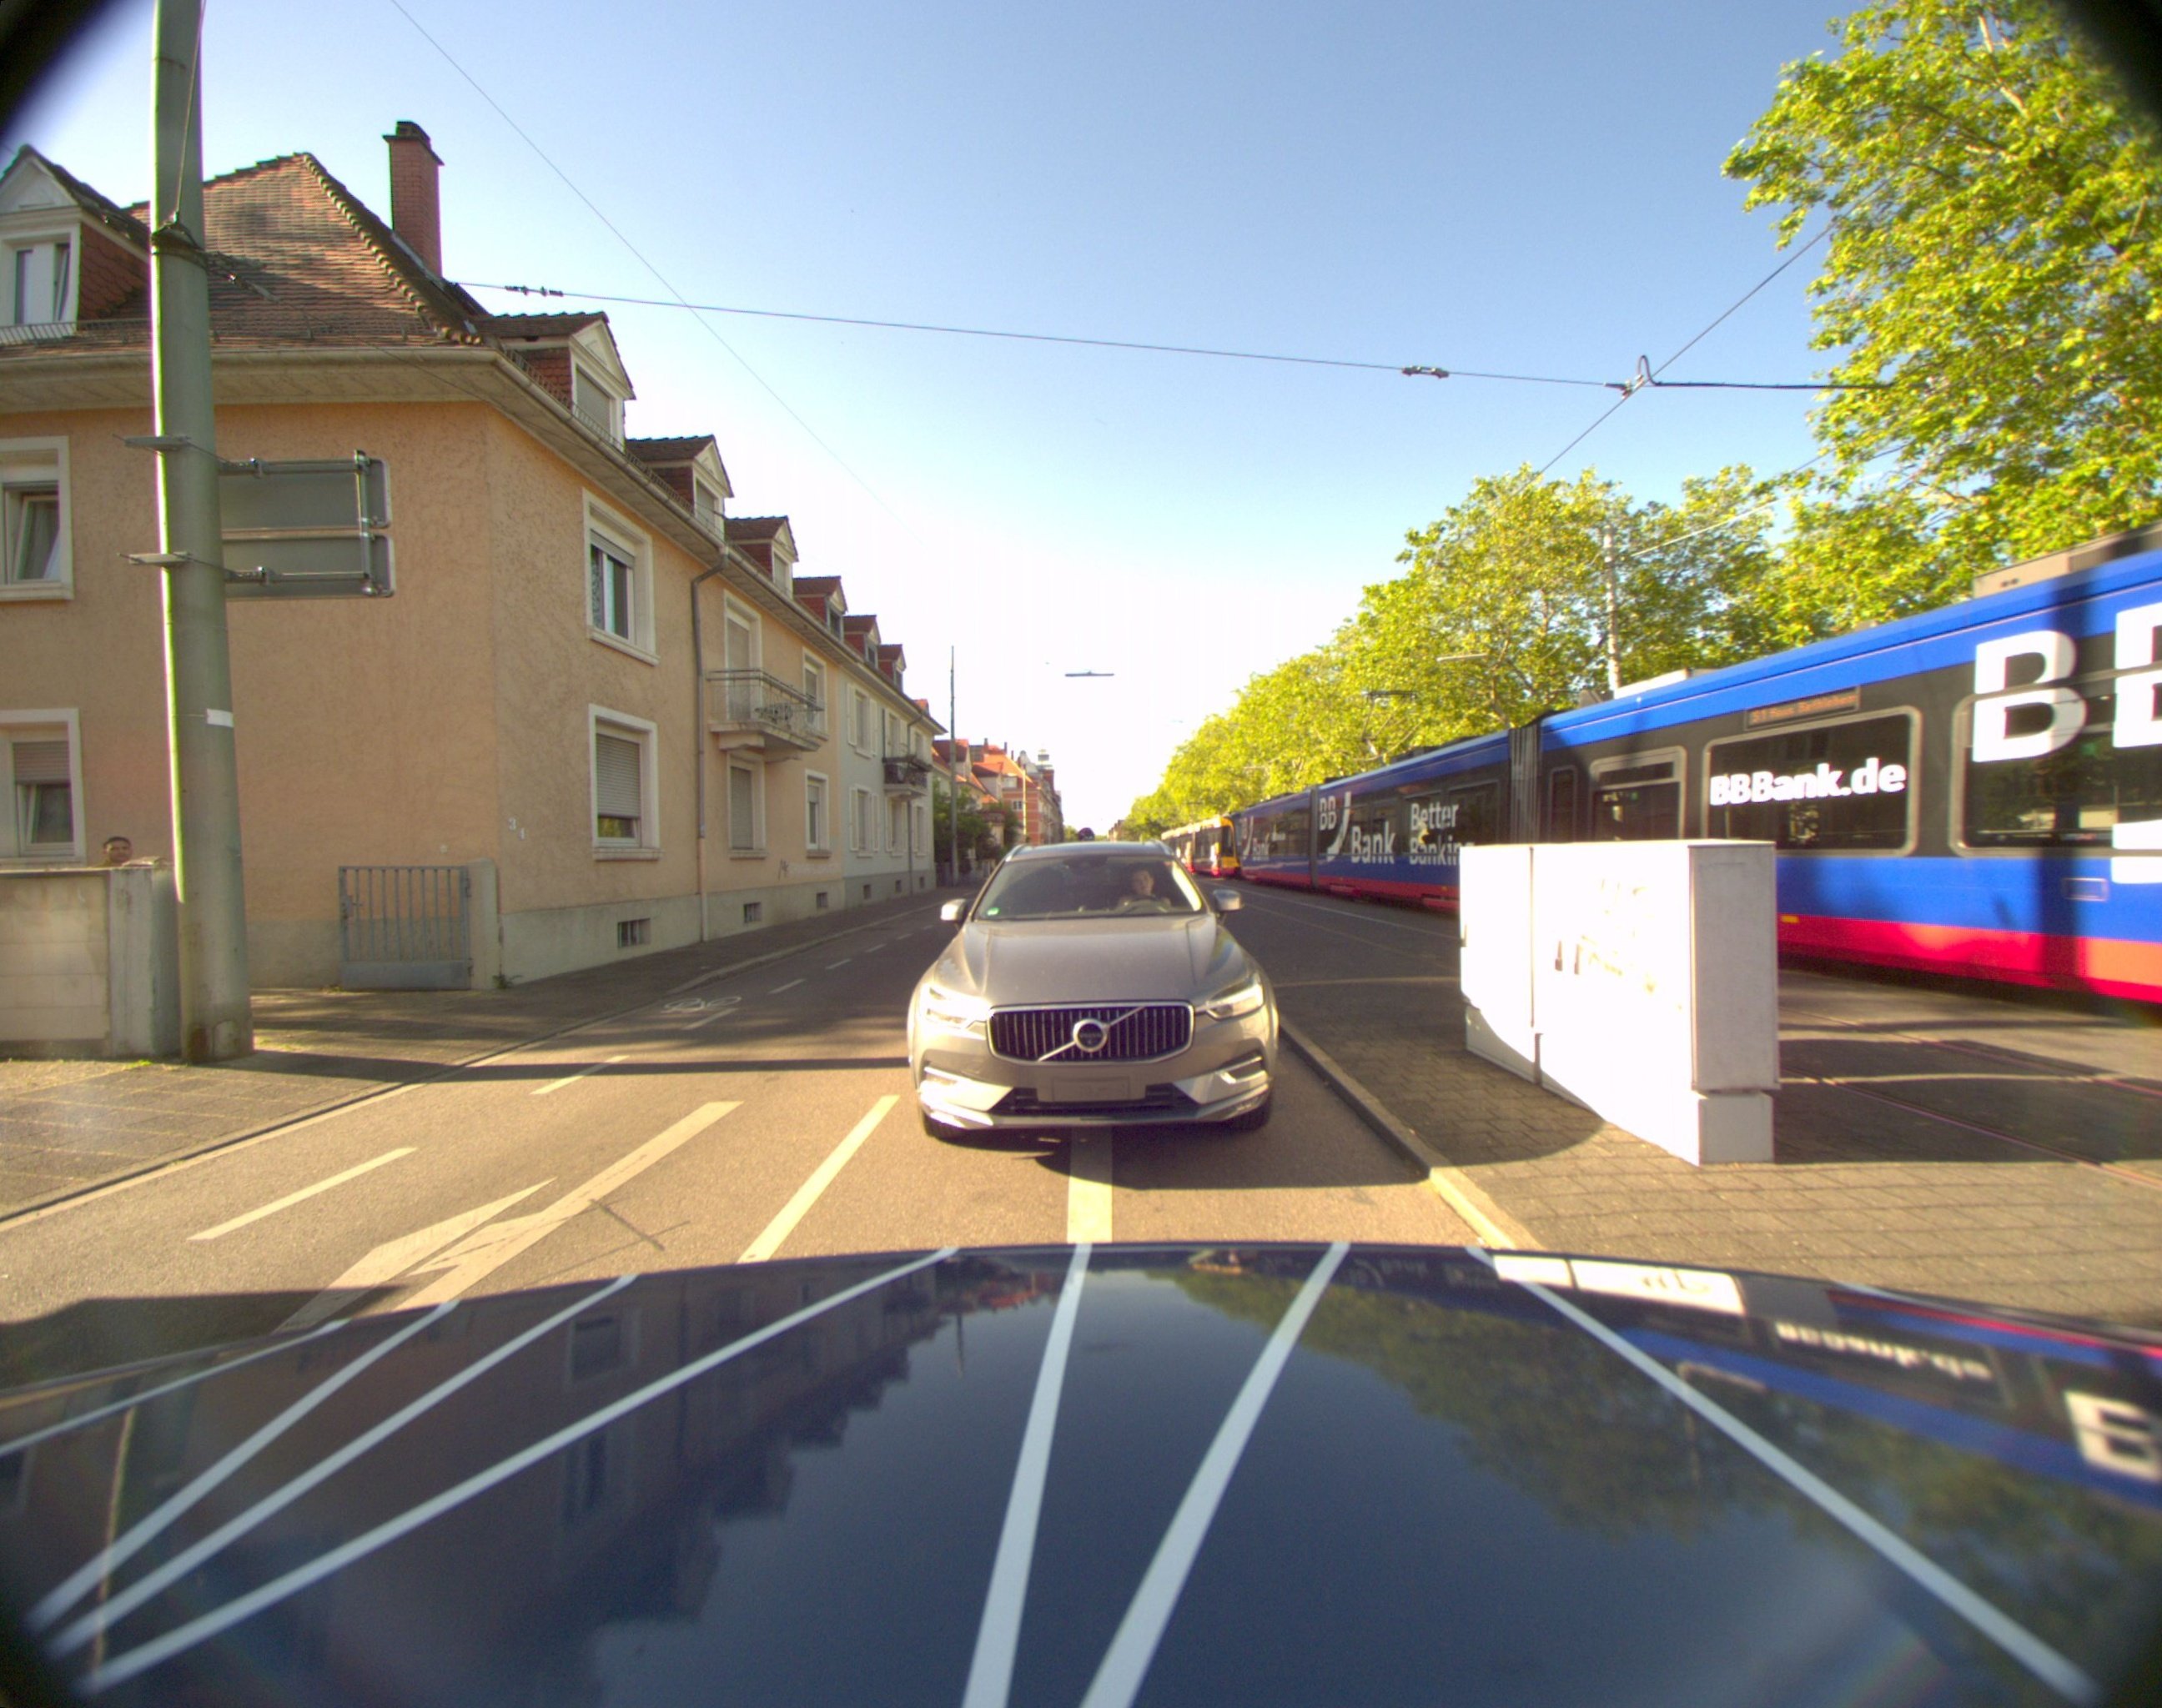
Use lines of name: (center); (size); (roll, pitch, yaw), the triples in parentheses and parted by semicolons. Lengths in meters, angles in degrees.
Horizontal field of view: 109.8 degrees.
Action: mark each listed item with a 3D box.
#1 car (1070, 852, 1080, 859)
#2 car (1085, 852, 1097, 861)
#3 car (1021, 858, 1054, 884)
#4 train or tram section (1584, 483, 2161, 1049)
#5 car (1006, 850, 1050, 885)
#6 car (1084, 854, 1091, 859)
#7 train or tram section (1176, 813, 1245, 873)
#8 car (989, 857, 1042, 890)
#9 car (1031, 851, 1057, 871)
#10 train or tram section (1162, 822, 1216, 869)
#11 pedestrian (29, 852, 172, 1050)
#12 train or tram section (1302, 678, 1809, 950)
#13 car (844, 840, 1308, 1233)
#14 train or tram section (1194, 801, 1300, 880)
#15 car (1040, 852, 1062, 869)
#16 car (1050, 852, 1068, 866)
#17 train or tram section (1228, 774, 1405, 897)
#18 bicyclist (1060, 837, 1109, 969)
car: (-1.115, 0.285, 147.562); (1.882, 1.477, 3.999); (-1, 0, -1)
car: (1.697, 0.413, 127.028); (1.882, 1.477, 3.999); (-1, 0, -1)
car: (-2.750, 1.044, 48.296); (1.882, 1.477, 3.999); (-1, 0, -1)
train or tram section: (8.412, -0.576, 4.155); (3.063, 3.592, 12.112); (-1, 0, -1)
car: (-2.916, 0.714, 42.849); (1.932, 1.834, 5.313); (-1, 0, 2)
car: (1.772, 0.677, 206.659); (1.882, 1.477, 3.999); (-1, 0, -1)
train or tram section: (8.741, -0.709, 52.820); (3.062, 3.592, 11.950); (-1, 0, 2)
car: (-3.149, 0.908, 37.164); (1.881, 1.477, 4.001); (-1, 0, 5)
car: (-2.944, 0.545, 60.515); (1.882, 1.477, 3.999); (-1, 0, -1)
train or tram section: (9.053, -0.702, 65.200); (3.062, 3.592, 12.889); (-1, 0, 2)
pedestrian: (-9.081, 0.866, 7.059); (0.486, 1.750, 0.602); (-1, 1, 2)
train or tram section: (8.208, -0.558, 16.448); (3.063, 3.592, 12.500); (-1, 0, 0)
car: (0.011, 0.760, 5.443); (1.917, 1.621, 4.502); (-1, 0, 1)
train or tram section: (8.494, -0.645, 40.813); (3.063, 3.592, 12.113); (-1, 0, 0)
car: (-2.628, 0.543, 67.502); (1.882, 1.477, 3.999); (-1, 0, -1)
car: (-2.430, 0.576, 85.635); (1.882, 1.477, 3.999); (-1, 0, -1)
train or tram section: (8.186, -0.573, 28.718); (3.063, 3.592, 12.114); (-1, 0, 1)
bicyclist: (0.047, 0.639, 10.214); (0.600, 1.709, 0.662); (-1, 1, 1)
